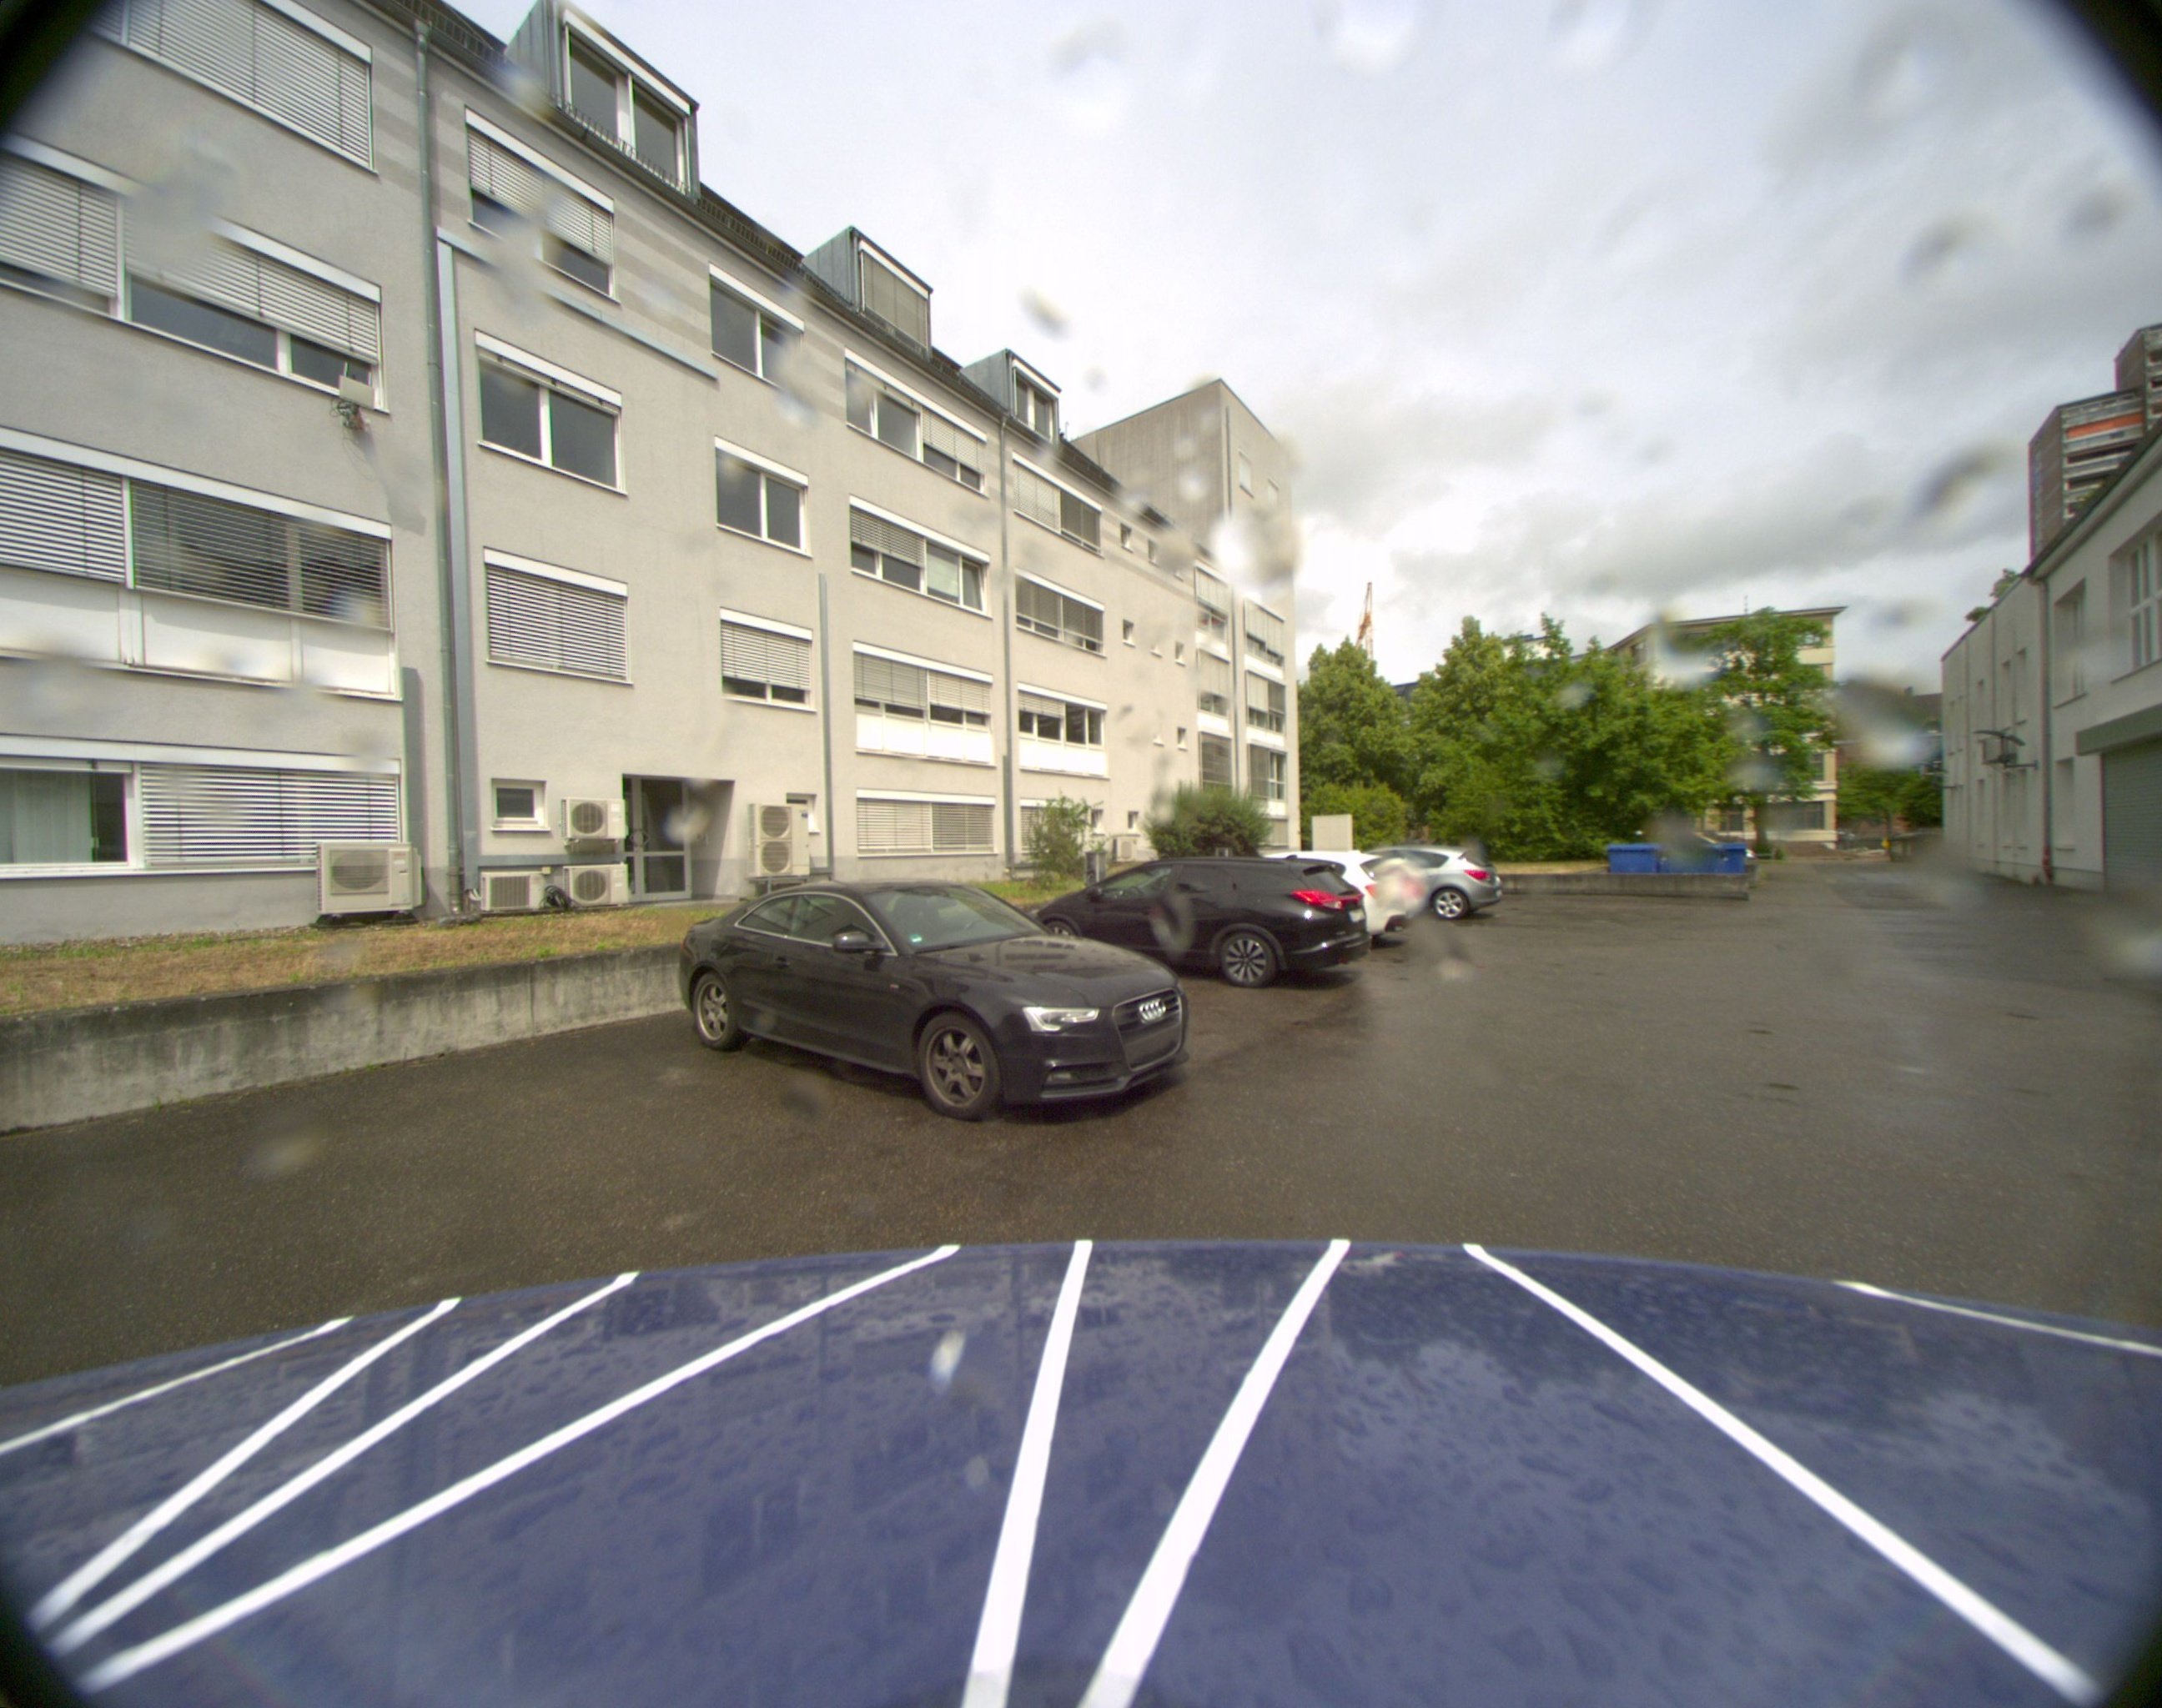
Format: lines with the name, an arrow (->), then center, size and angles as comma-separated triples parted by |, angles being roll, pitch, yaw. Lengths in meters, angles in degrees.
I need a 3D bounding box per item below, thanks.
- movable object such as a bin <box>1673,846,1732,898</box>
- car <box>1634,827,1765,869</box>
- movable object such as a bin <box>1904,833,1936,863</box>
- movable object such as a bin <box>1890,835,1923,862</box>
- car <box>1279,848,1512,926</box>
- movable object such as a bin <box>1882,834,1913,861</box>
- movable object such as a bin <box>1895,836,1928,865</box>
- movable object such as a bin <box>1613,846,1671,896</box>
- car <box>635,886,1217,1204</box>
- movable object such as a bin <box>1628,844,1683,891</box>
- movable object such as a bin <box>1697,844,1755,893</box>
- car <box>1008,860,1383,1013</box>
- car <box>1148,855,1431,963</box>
movable object such as a bin -> 16.794, 0.467, 20.520 | 1.210, 1.318, 1.092 | -3, 1, -45
car -> 27.516, -0.253, 33.898 | 1.726, 1.717, 4.322 | -3, 1, -43
movable object such as a bin -> 39.331, -0.288, 35.633 | 0.921, 1.348, 0.976 | -3, 1, -45
movable object such as a bin -> 42.420, -0.290, 39.060 | 1.267, 1.348, 1.063 | -3, 1, -45
car -> 6.667, 0.620, 16.298 | 4.303, 1.434, 1.766 | 0, 2, 36
movable object such as a bin -> 43.215, -0.332, 40.211 | 1.267, 1.348, 1.063 | -3, 1, -45
movable object such as a bin -> 40.352, -0.190, 36.942 | 1.210, 1.348, 1.043 | -3, 1, -45
movable object such as a bin -> 15.816, 0.457, 21.430 | 1.210, 1.321, 1.128 | -3, 1, -45
car -> -1.422, 1.034, 5.806 | 4.516, 1.344, 1.766 | 0, 2, 37
movable object such as a bin -> 17.057, 0.395, 22.565 | 1.210, 1.321, 1.128 | -3, 1, -45
movable object such as a bin -> 18.299, 0.396, 21.552 | 1.210, 1.321, 1.128 | -3, 1, -45
car -> 1.316, 0.846, 9.539 | 4.303, 1.434, 1.766 | 0, 2, 36
car -> 3.305, 0.766, 12.398 | 4.113, 1.434, 1.699 | 0, 2, 37
